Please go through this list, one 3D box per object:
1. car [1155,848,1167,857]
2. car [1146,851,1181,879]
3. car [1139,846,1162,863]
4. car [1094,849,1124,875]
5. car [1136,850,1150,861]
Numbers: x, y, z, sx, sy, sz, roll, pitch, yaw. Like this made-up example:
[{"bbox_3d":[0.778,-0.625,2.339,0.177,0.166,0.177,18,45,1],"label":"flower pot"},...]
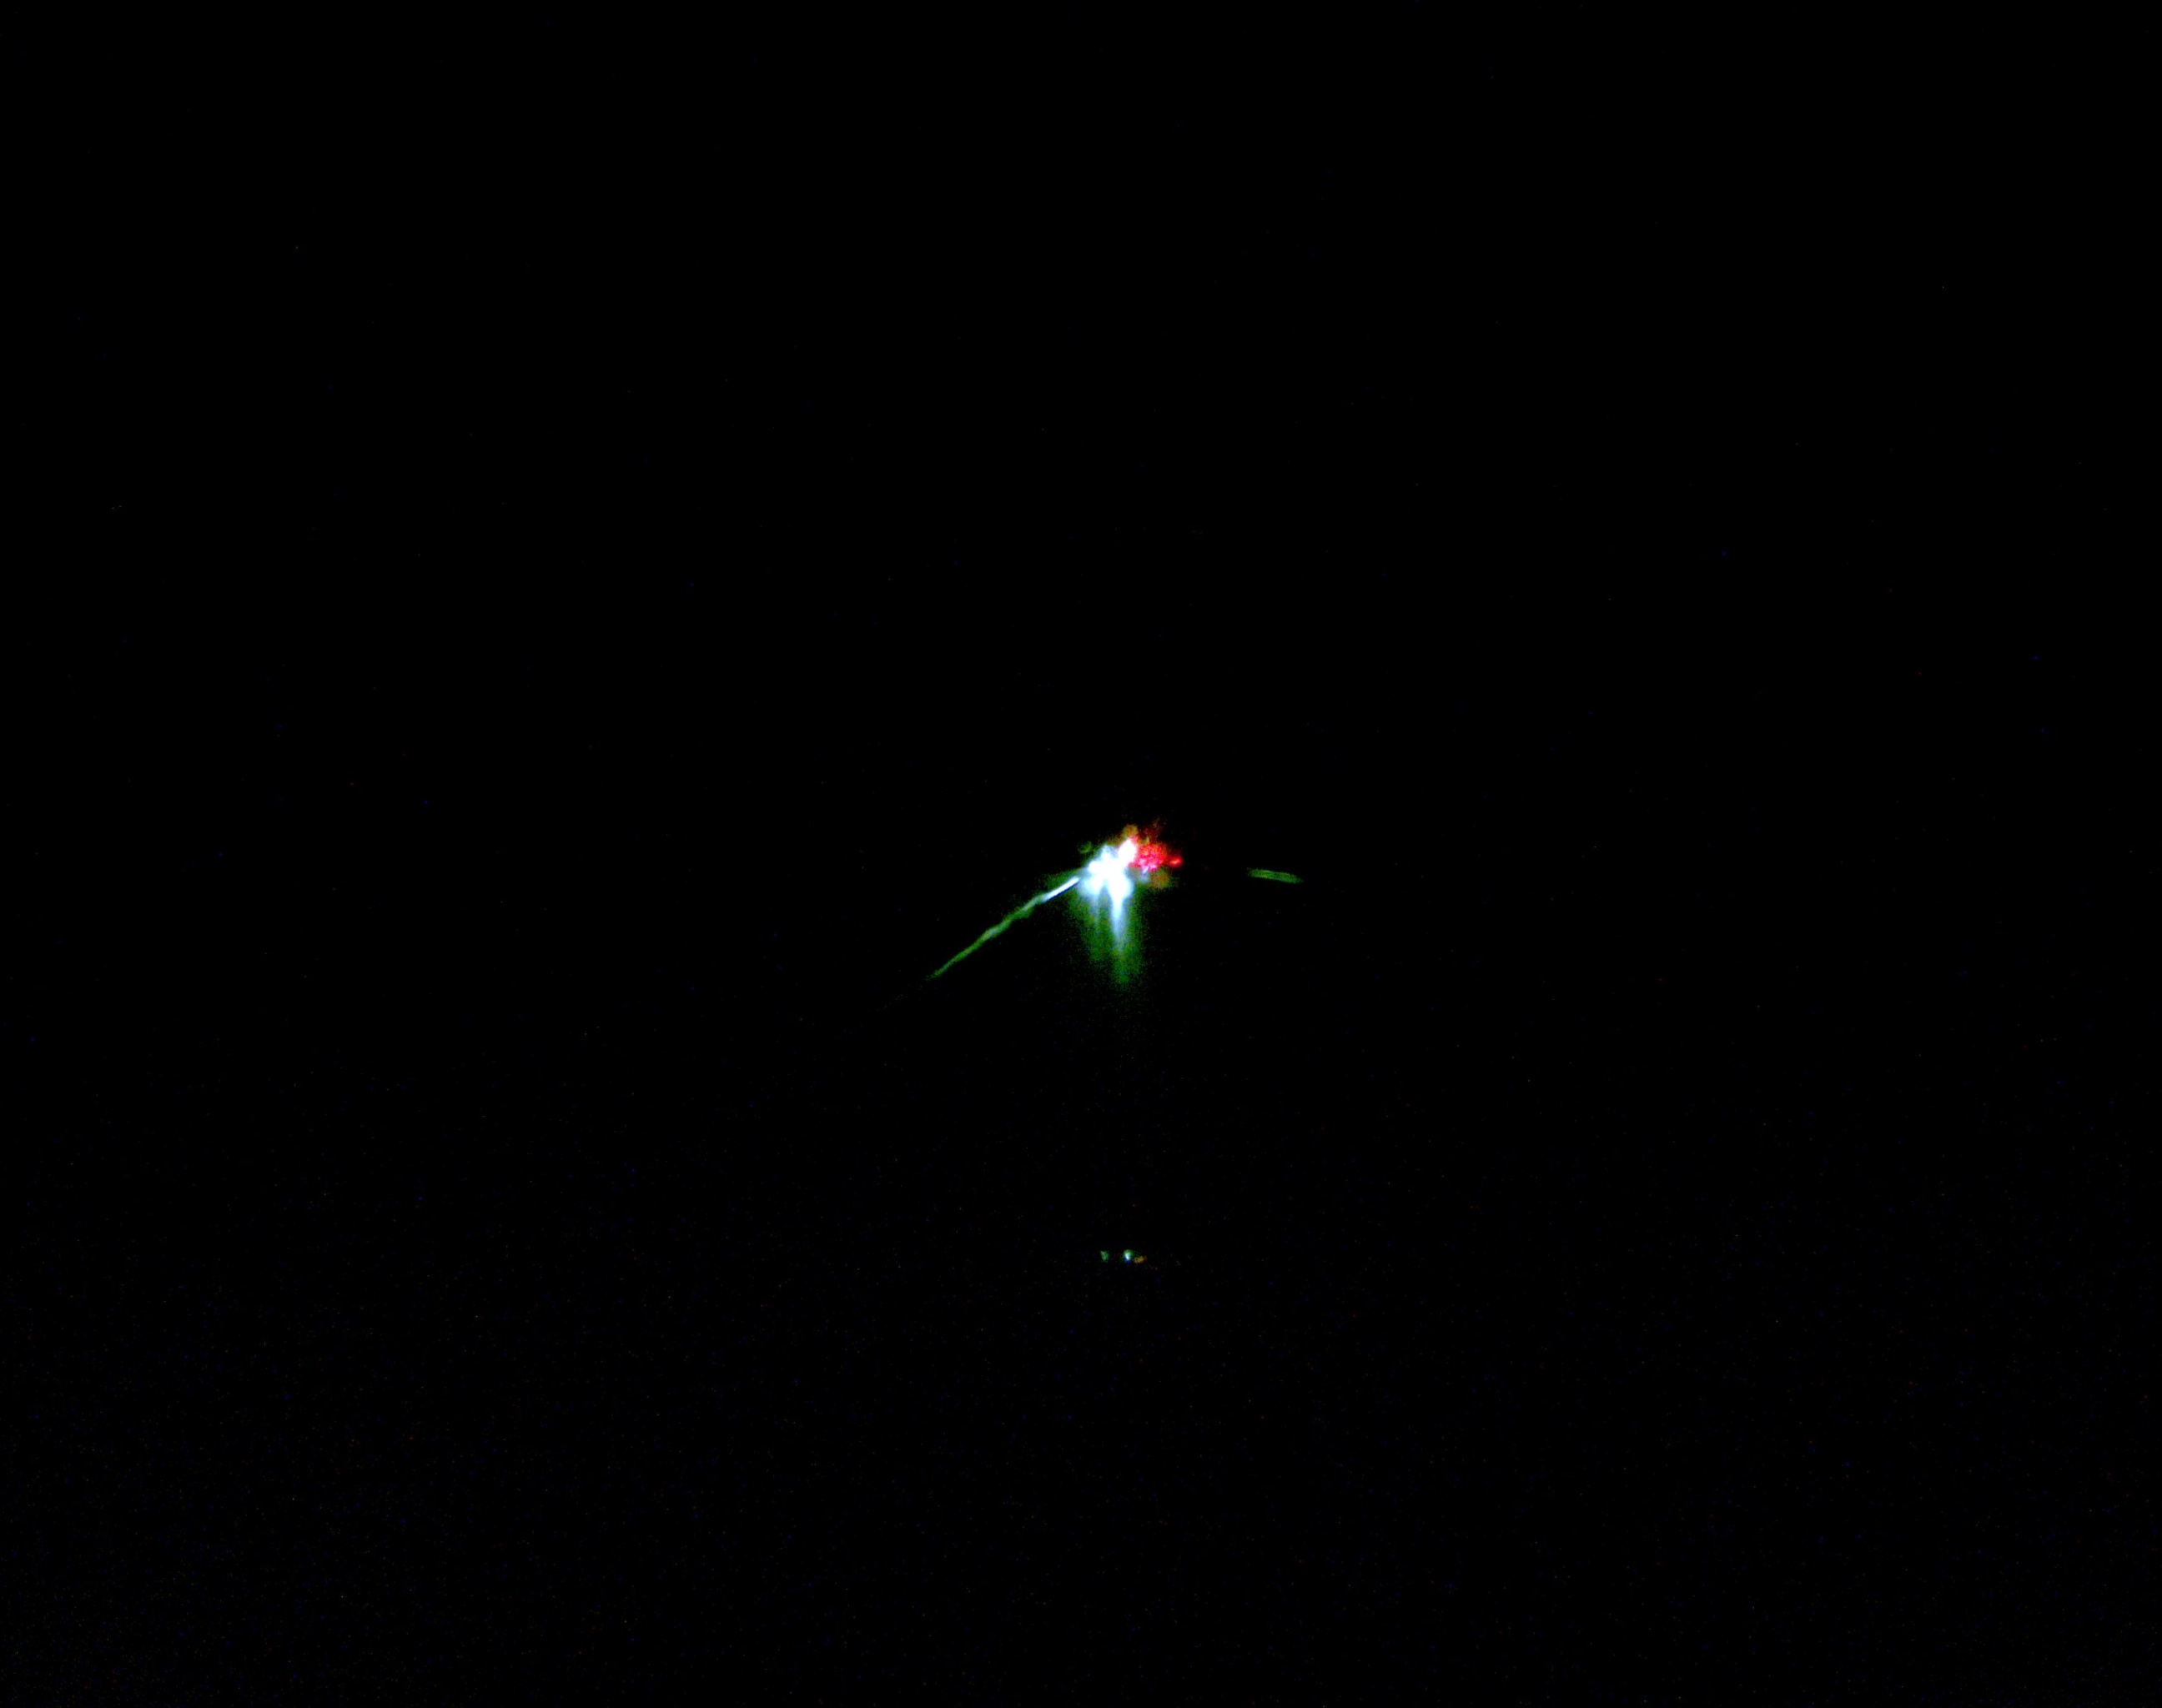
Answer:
[{"bbox_3d":[14.469,-0.275,137.325,1.834,1.545,4.442,-3,0,4],"label":"car"},{"bbox_3d":[4.927,0.620,45.774,1.859,1.512,4.682,-3,0,4],"label":"car"},{"bbox_3d":[6.491,0.011,71.523,1.980,1.453,4.283,-3,0,4],"label":"car"},{"bbox_3d":[2.216,0.602,58.833,1.998,1.804,4.001,-5,0,4],"label":"car"},{"bbox_3d":[8.956,0.206,110.227,1.998,1.488,4.357,-2,0,4],"label":"car"}]
